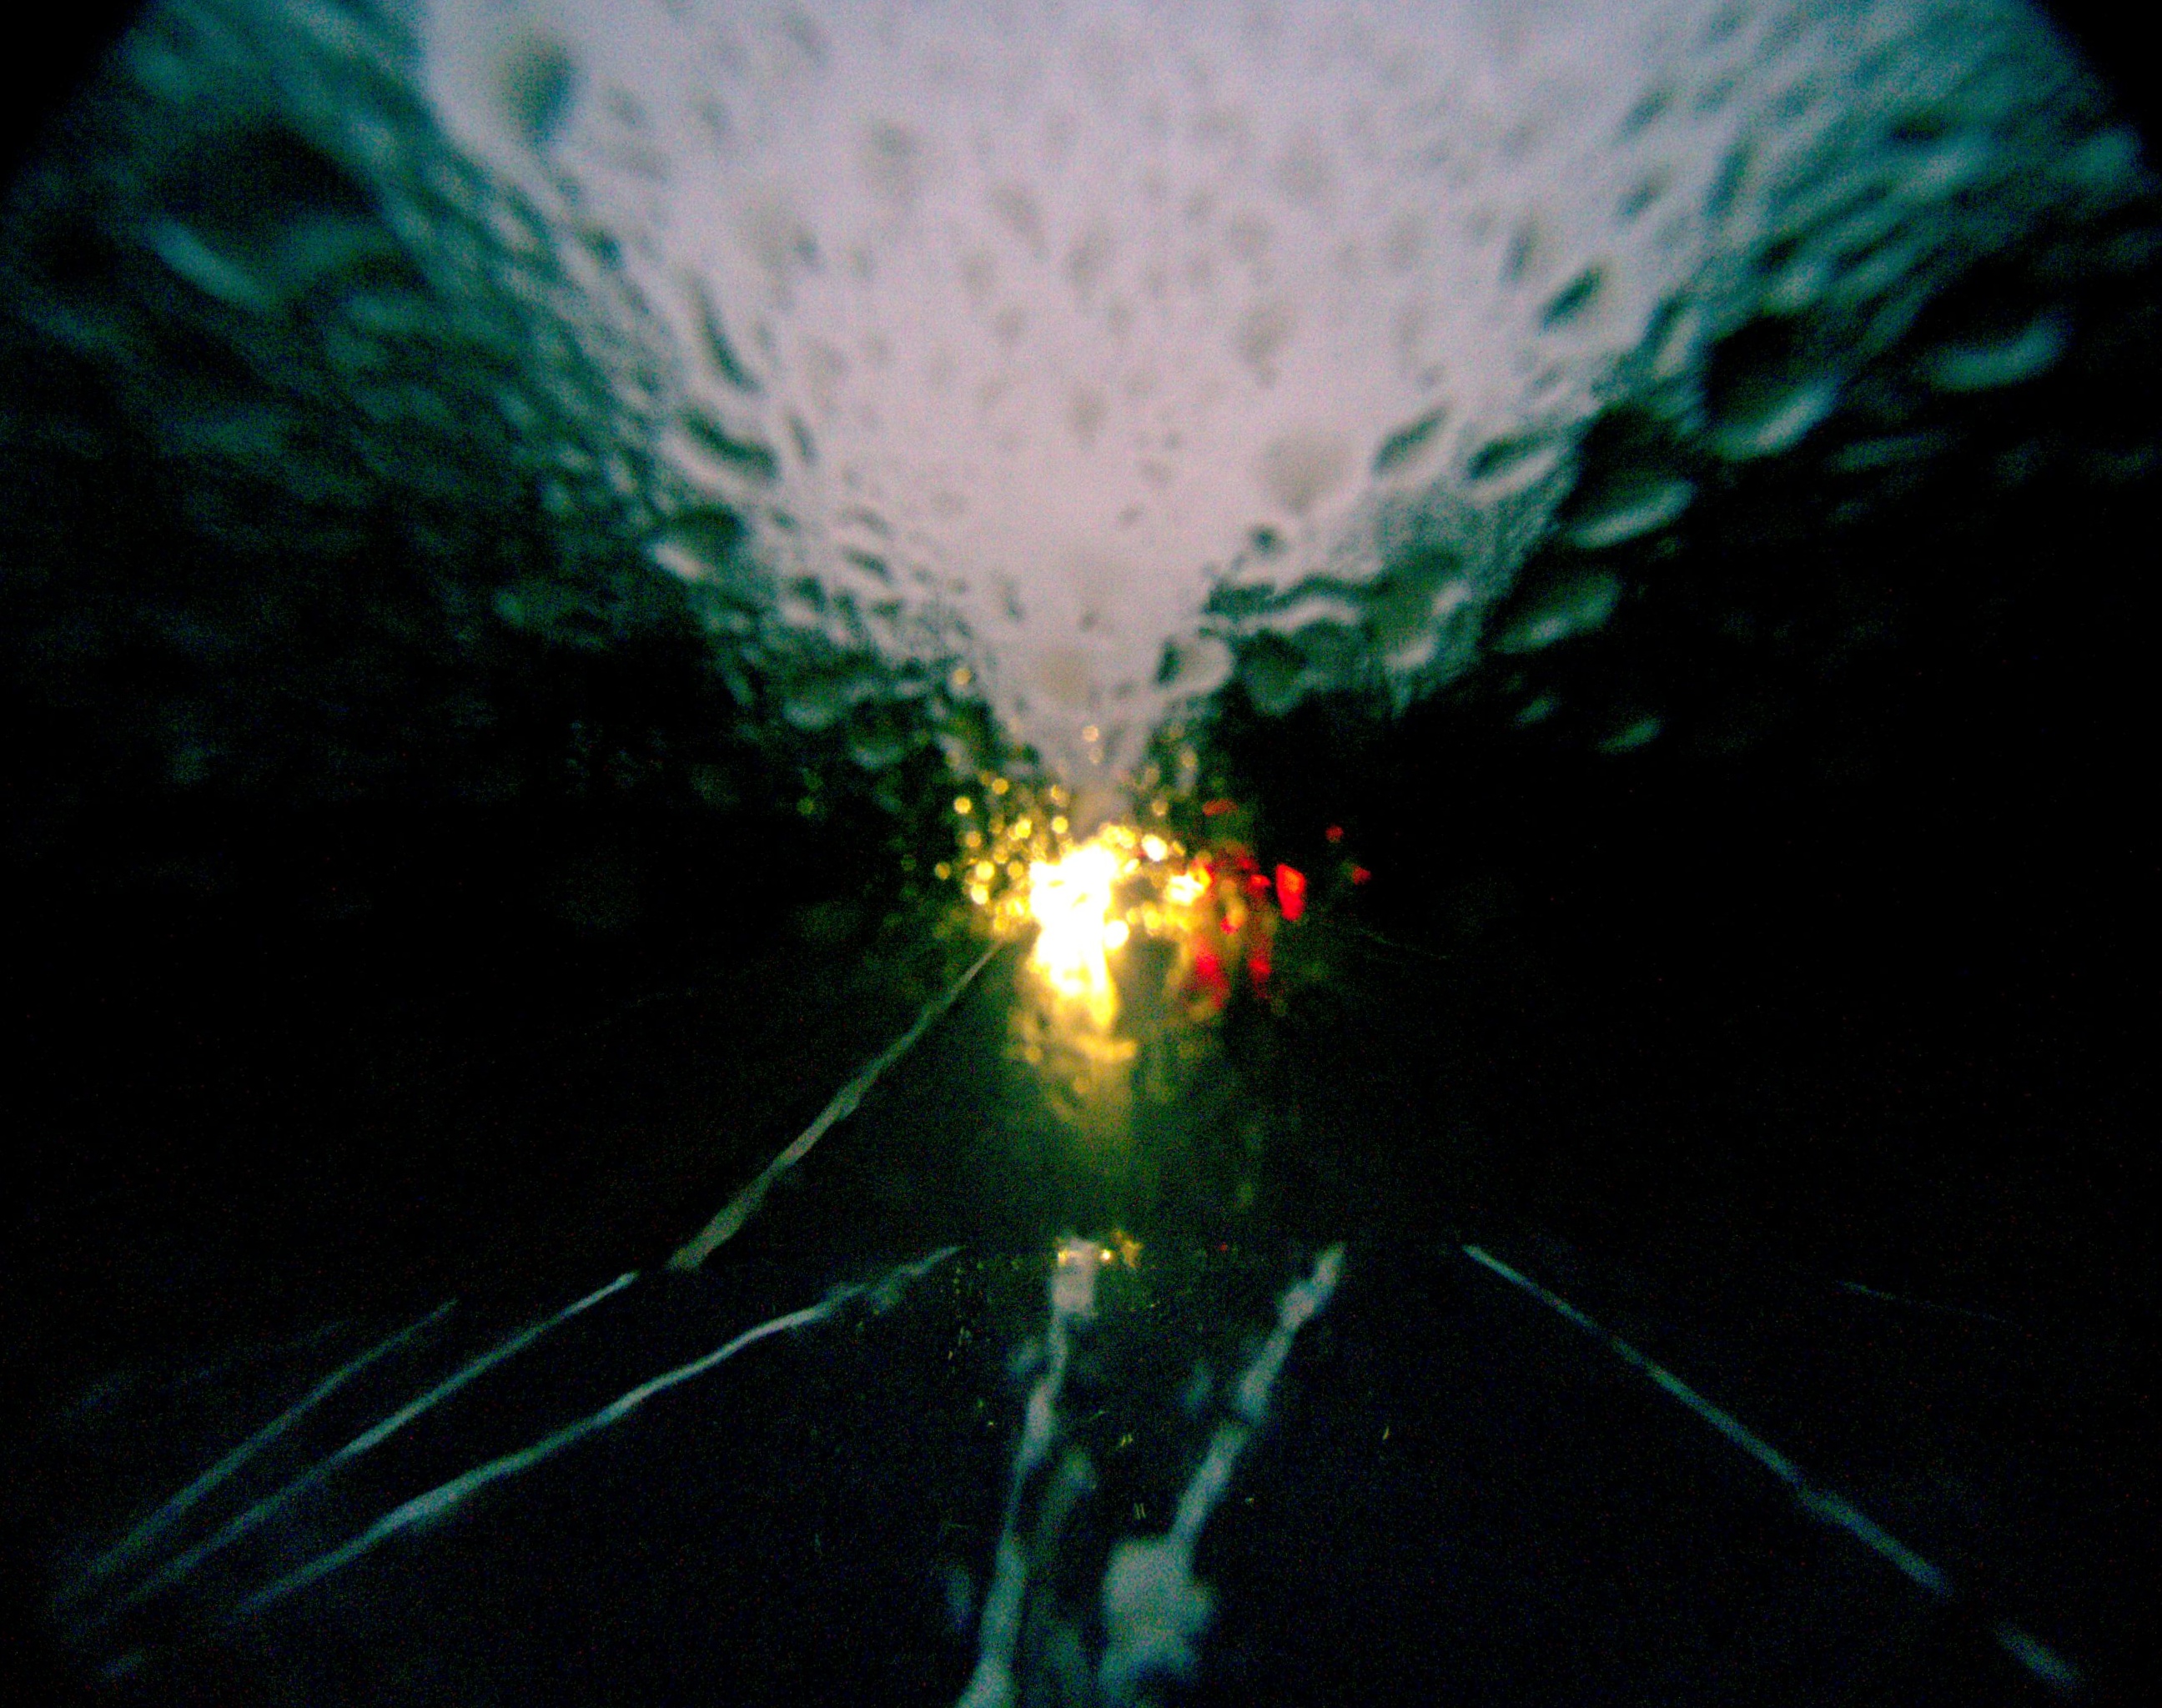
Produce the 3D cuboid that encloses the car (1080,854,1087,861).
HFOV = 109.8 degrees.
[{"bbox_3d":[0.643,1.046,222.127,1.998,2.002,3.999,-2,1,0],"label":"car"}]

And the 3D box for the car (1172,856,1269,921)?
[{"bbox_3d":[3.440,0.800,19.471,1.803,1.453,4.176,0,0,1],"label":"car"}]

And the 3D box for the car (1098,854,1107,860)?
[{"bbox_3d":[5.053,0.763,181.183,1.708,1.355,4.376,-4,-1,-2],"label":"car"}]

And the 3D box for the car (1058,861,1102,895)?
[{"bbox_3d":[0.007,1.044,34.740,1.845,1.390,4.000,-1,0,1],"label":"car"}]
